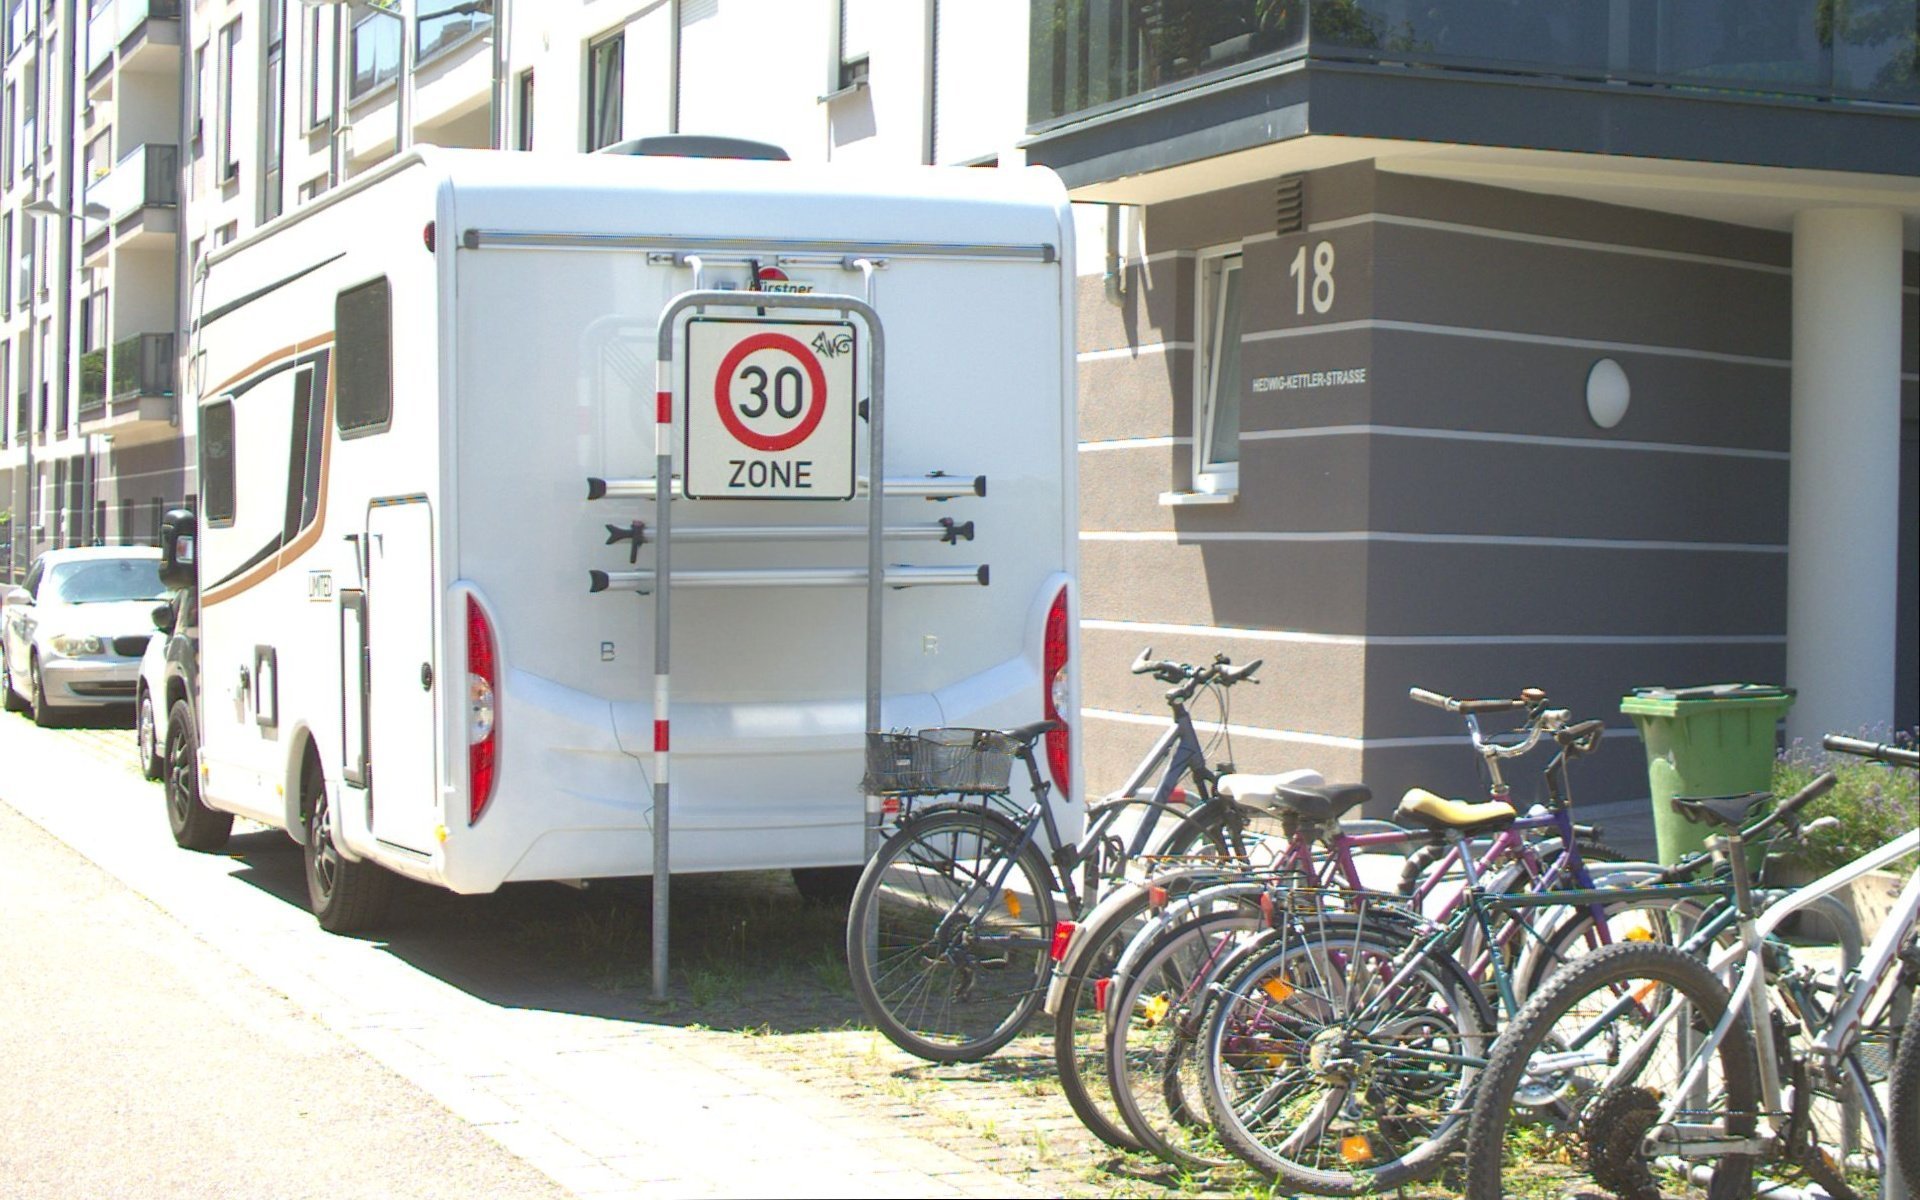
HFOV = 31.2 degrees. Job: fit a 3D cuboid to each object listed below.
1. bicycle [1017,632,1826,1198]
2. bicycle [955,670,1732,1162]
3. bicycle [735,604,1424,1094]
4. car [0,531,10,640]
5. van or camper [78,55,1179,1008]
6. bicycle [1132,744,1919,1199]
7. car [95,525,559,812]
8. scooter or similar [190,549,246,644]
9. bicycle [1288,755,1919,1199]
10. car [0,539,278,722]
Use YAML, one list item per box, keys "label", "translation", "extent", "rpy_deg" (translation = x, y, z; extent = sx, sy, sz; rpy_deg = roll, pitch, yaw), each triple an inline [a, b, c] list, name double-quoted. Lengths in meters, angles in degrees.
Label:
- label: "bicycle"
  translation: [1.099, 0.701, 8.155]
  extent: [1.849, 1.218, 0.556]
  rpy_deg: [0, 1, -20]
- label: "bicycle"
  translation: [0.958, 0.744, 8.506]
  extent: [1.882, 1.107, 0.476]
  rpy_deg: [0, 1, -20]
- label: "bicycle"
  translation: [0.377, 0.666, 10.064]
  extent: [1.916, 1.218, 0.826]
  rpy_deg: [-2, 3, -37]
- label: "car"
  translation: [-14.596, -0.222, 48.753]
  extent: [1.737, 1.482, 4.260]
  rpy_deg: [-1, 1, -21]
- label: "van or camper"
  translation: [-1.908, -0.219, 14.537]
  extent: [2.438, 2.896, 7.829]
  rpy_deg: [1, 0, -22]
- label: "bicycle"
  translation: [1.386, 0.848, 7.588]
  extent: [1.853, 0.971, 0.945]
  rpy_deg: [-1, 1, -8]
- label: "car"
  translation: [-3.887, 0.321, 20.527]
  extent: [1.806, 1.499, 4.262]
  rpy_deg: [-1, 1, -23]
- label: "scooter or similar"
  translation: [-9.798, -0.052, 45.440]
  extent: [0.545, 1.221, 1.529]
  rpy_deg: [1, 1, -6]
- label: "bicycle"
  translation: [1.708, 0.855, 6.685]
  extent: [2.026, 1.000, 0.875]
  rpy_deg: [-1, 2, -33]
- label: "car"
  translation: [-7.034, 0.209, 28.976]
  extent: [1.845, 1.411, 4.427]
  rpy_deg: [0, 1, -20]
